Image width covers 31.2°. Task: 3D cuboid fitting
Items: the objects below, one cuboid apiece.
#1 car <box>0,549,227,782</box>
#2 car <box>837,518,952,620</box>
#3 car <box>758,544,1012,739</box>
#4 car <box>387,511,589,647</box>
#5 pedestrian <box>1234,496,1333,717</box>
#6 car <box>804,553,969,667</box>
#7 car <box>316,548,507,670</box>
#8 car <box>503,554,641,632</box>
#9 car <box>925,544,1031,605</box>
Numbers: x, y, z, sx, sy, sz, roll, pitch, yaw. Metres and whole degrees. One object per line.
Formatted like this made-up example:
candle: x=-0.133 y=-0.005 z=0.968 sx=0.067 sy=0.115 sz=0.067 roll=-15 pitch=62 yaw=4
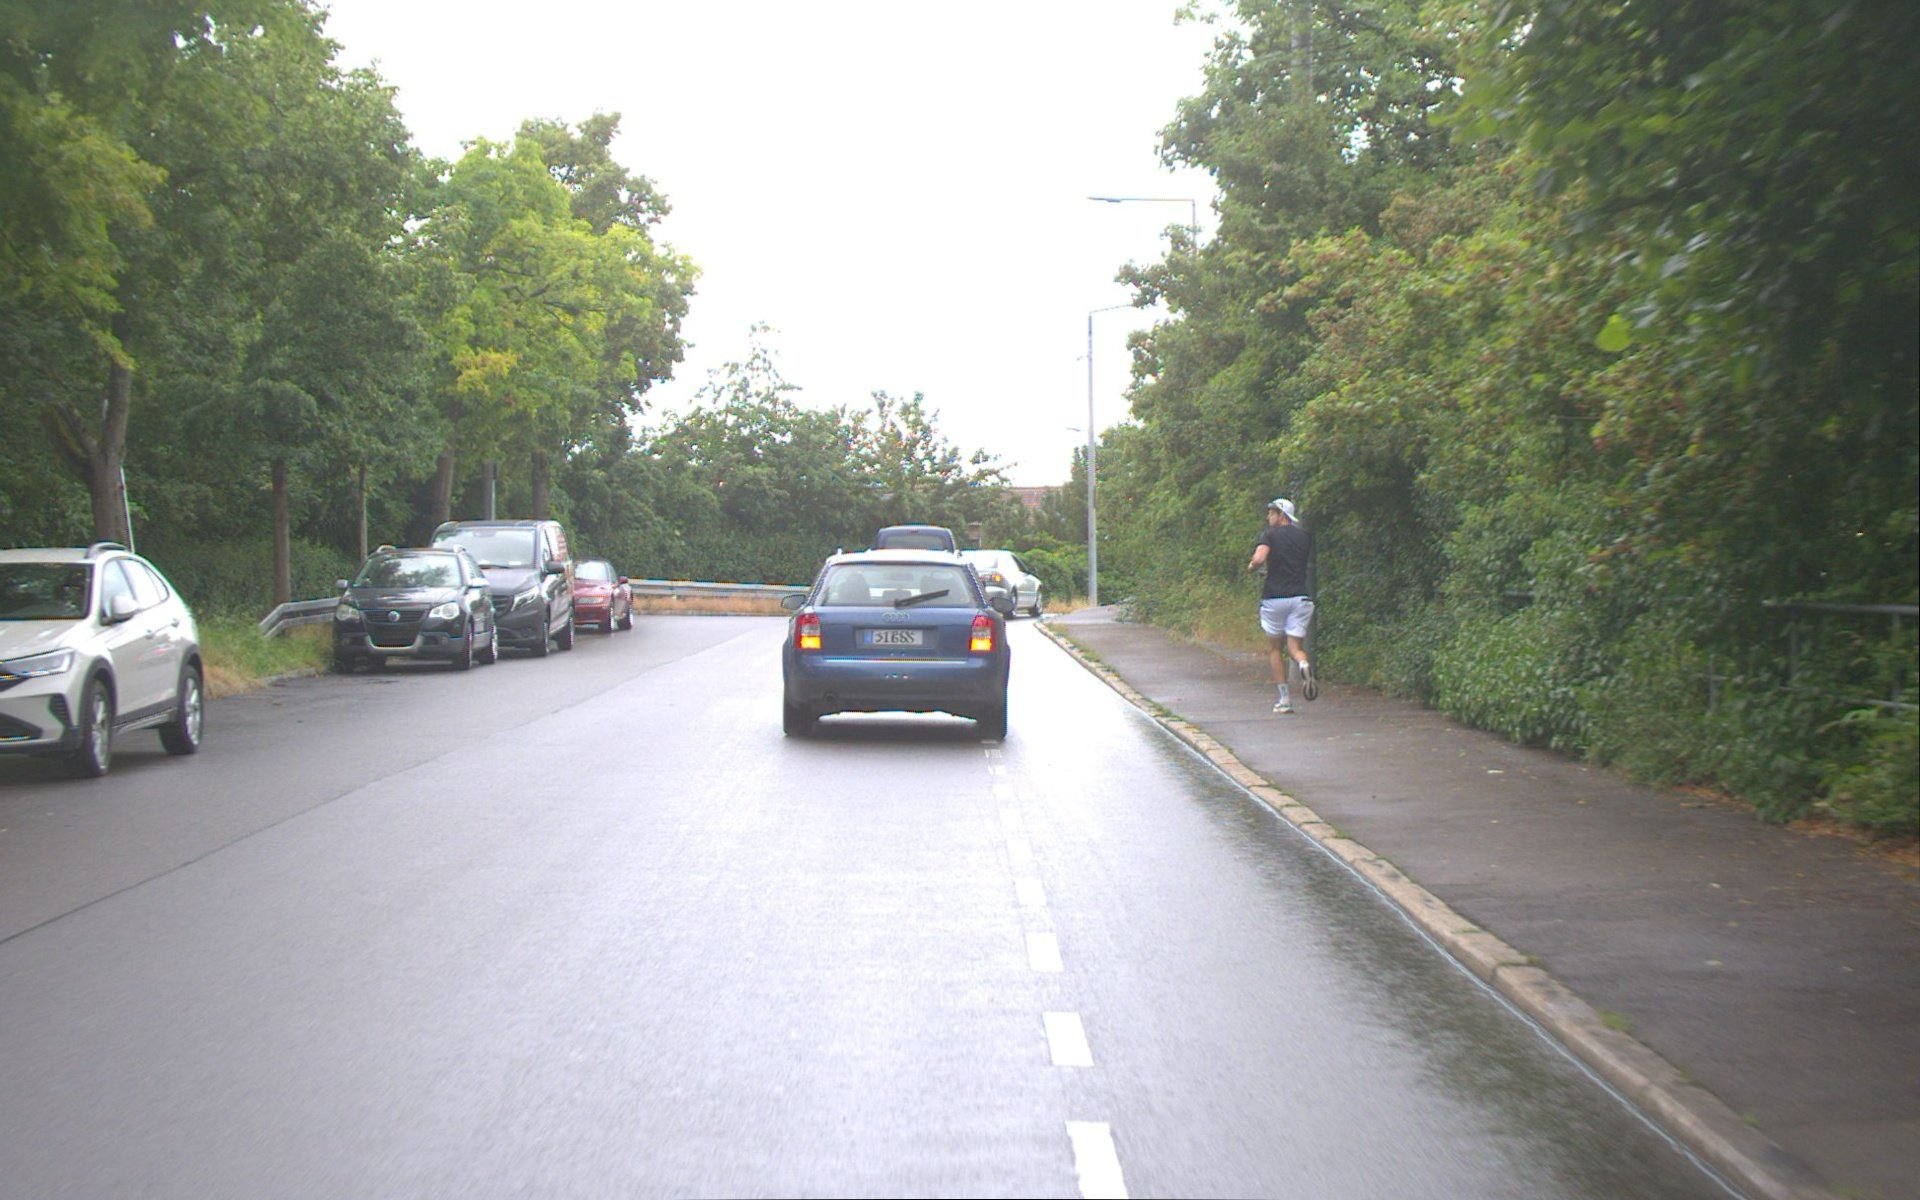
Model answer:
car: x=-6.332 y=0.395 z=23.322 sx=1.689 sy=1.432 sz=4.256 roll=-1 pitch=0 yaw=2
car: x=-1.064 y=-0.512 z=57.216 sx=1.822 sy=1.611 sz=3.785 roll=-1 pitch=0 yaw=0
car: x=-0.669 y=0.328 z=27.456 sx=1.747 sy=1.403 sz=4.000 roll=-1 pitch=-1 yaw=-5
car: x=-6.657 y=-0.303 z=49.072 sx=2.083 sy=1.813 sz=5.381 roll=-1 pitch=0 yaw=0
pedestrian: x=2.750 y=0.044 z=29.335 sx=0.716 sy=1.828 sz=1.021 roll=-2 pitch=1 yaw=2
car: x=-0.897 y=0.105 z=44.208 sx=1.891 sy=1.384 sz=4.000 roll=0 pitch=0 yaw=2
car: x=-6.816 y=0.086 z=43.101 sx=1.797 sy=1.432 sz=4.256 roll=-1 pitch=0 yaw=-1
car: x=-6.763 y=-0.134 z=60.293 sx=1.789 sy=1.292 sz=4.325 roll=-1 pitch=0 yaw=2
car: x=0.408 y=-0.544 z=71.438 sx=1.822 sy=1.198 sz=3.785 roll=-1 pitch=1 yaw=6
